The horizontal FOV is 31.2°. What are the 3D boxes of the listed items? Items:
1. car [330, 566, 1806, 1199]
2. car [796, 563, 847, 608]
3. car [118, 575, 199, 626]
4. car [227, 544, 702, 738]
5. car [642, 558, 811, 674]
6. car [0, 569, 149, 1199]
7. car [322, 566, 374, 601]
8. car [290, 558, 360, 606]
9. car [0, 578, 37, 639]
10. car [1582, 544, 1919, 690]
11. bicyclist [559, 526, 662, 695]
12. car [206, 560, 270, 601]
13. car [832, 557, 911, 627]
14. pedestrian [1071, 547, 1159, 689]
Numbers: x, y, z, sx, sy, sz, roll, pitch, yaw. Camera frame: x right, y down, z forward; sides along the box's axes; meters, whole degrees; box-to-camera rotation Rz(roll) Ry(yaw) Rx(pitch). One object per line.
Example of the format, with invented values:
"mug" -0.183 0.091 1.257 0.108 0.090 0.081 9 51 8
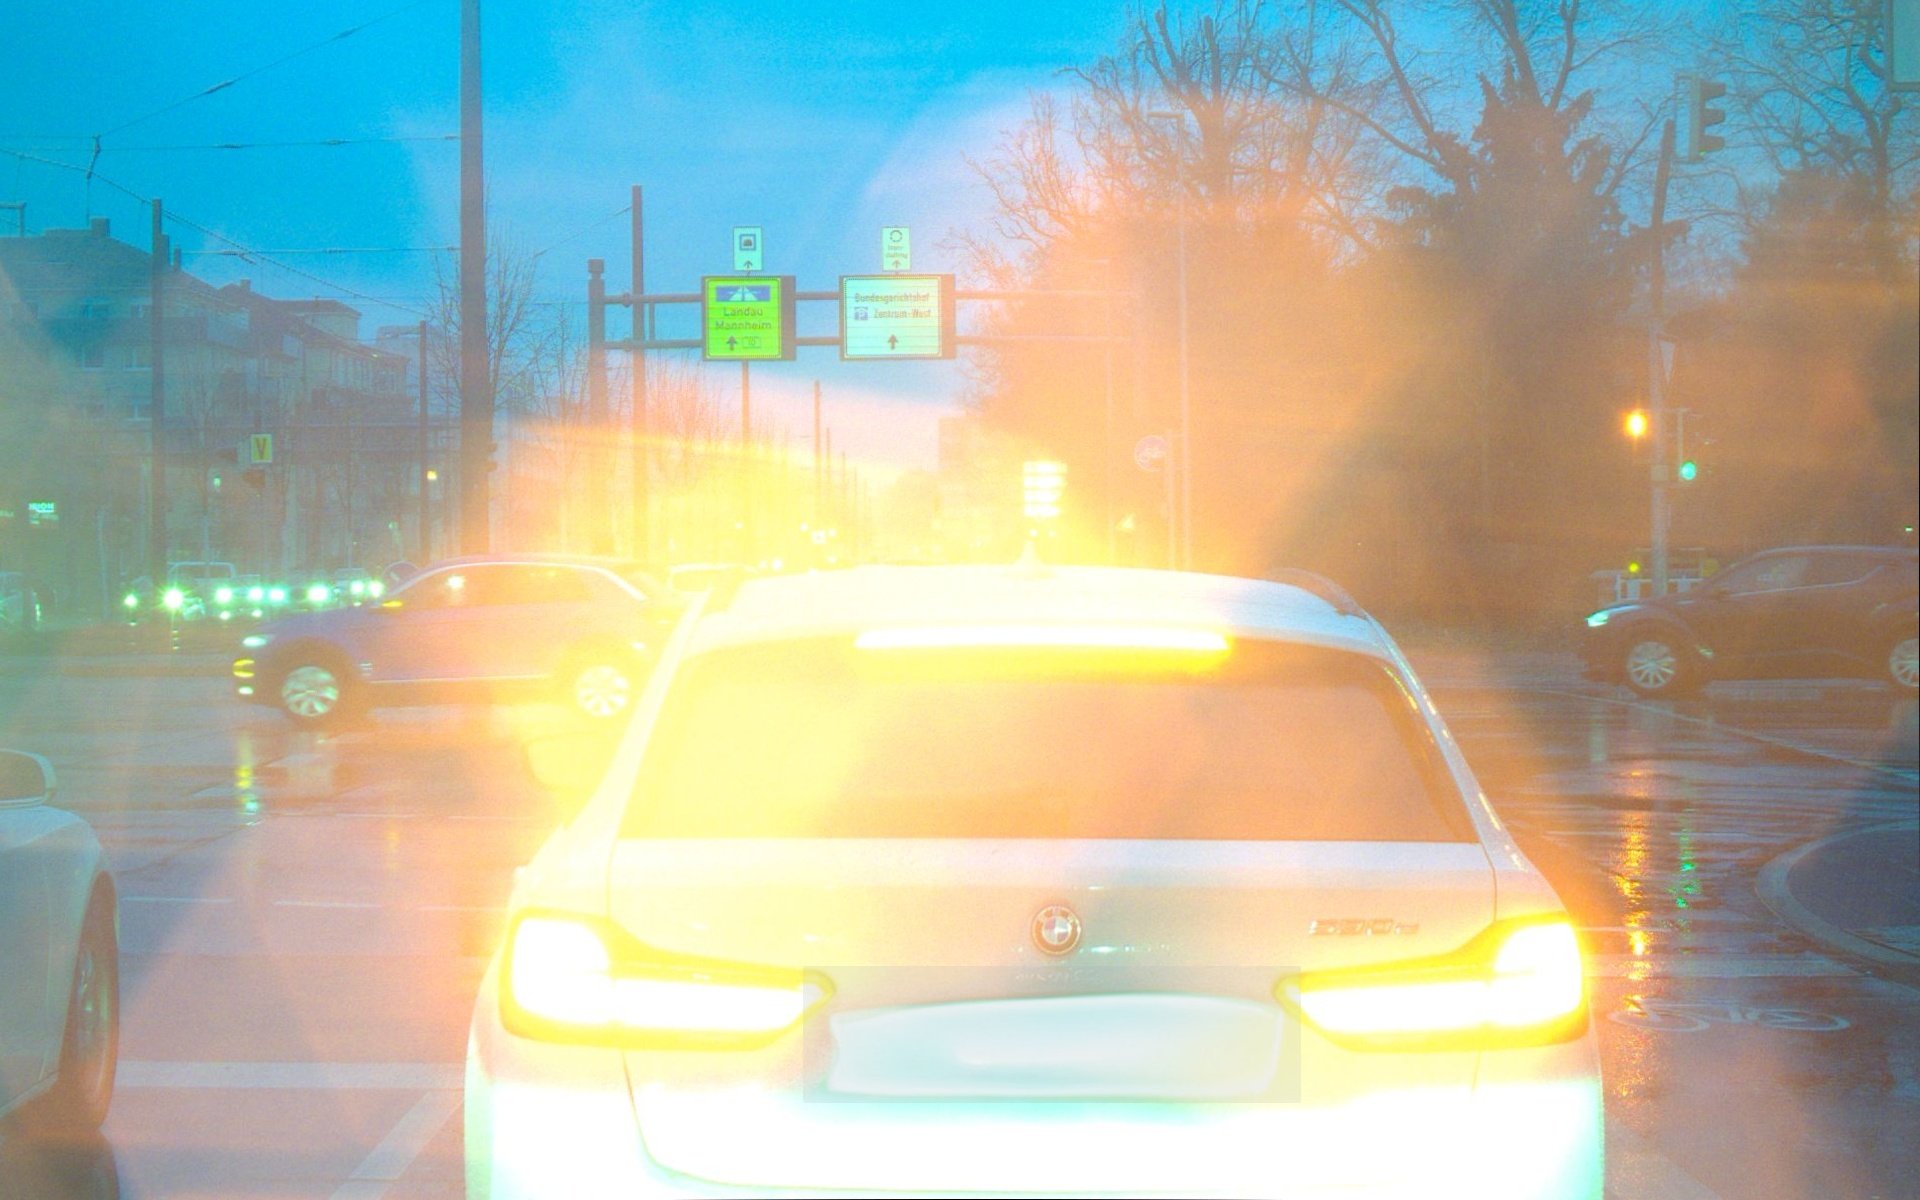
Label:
"car" 0.056 0.681 6.827 1.993 1.451 4.369 0 1 -2
"car" -5.147 -0.521 128.135 1.843 1.603 3.945 1 0 -2
"car" -24.751 0.013 106.237 1.675 1.502 3.696 1 0 -1
"car" -4.411 0.357 31.002 3.987 1.617 1.719 1 0 1
"car" -3.372 0.214 49.085 1.743 1.548 3.969 1 0 -13
"car" -3.089 0.678 7.045 1.993 1.451 4.369 0 1 -2
"car" -27.563 -0.743 154.939 1.675 1.502 3.696 1 0 -1
"car" -21.060 -0.589 114.088 1.675 1.502 3.696 1 0 -1
"car" -24.472 0.193 86.240 1.675 1.502 3.696 1 0 -1
"car" 8.590 0.169 35.373 3.992 1.397 1.755 1 0 23
"bicyclist" -3.704 0.107 36.480 0.972 1.753 0.813 1 0 0
"car" -27.702 -0.742 131.984 1.675 1.502 3.696 1 0 -1
"car" -2.143 -0.186 83.251 1.843 1.603 3.945 1 0 -2
"pedestrian" 2.061 0.241 45.739 0.904 1.850 0.811 1 0 24
